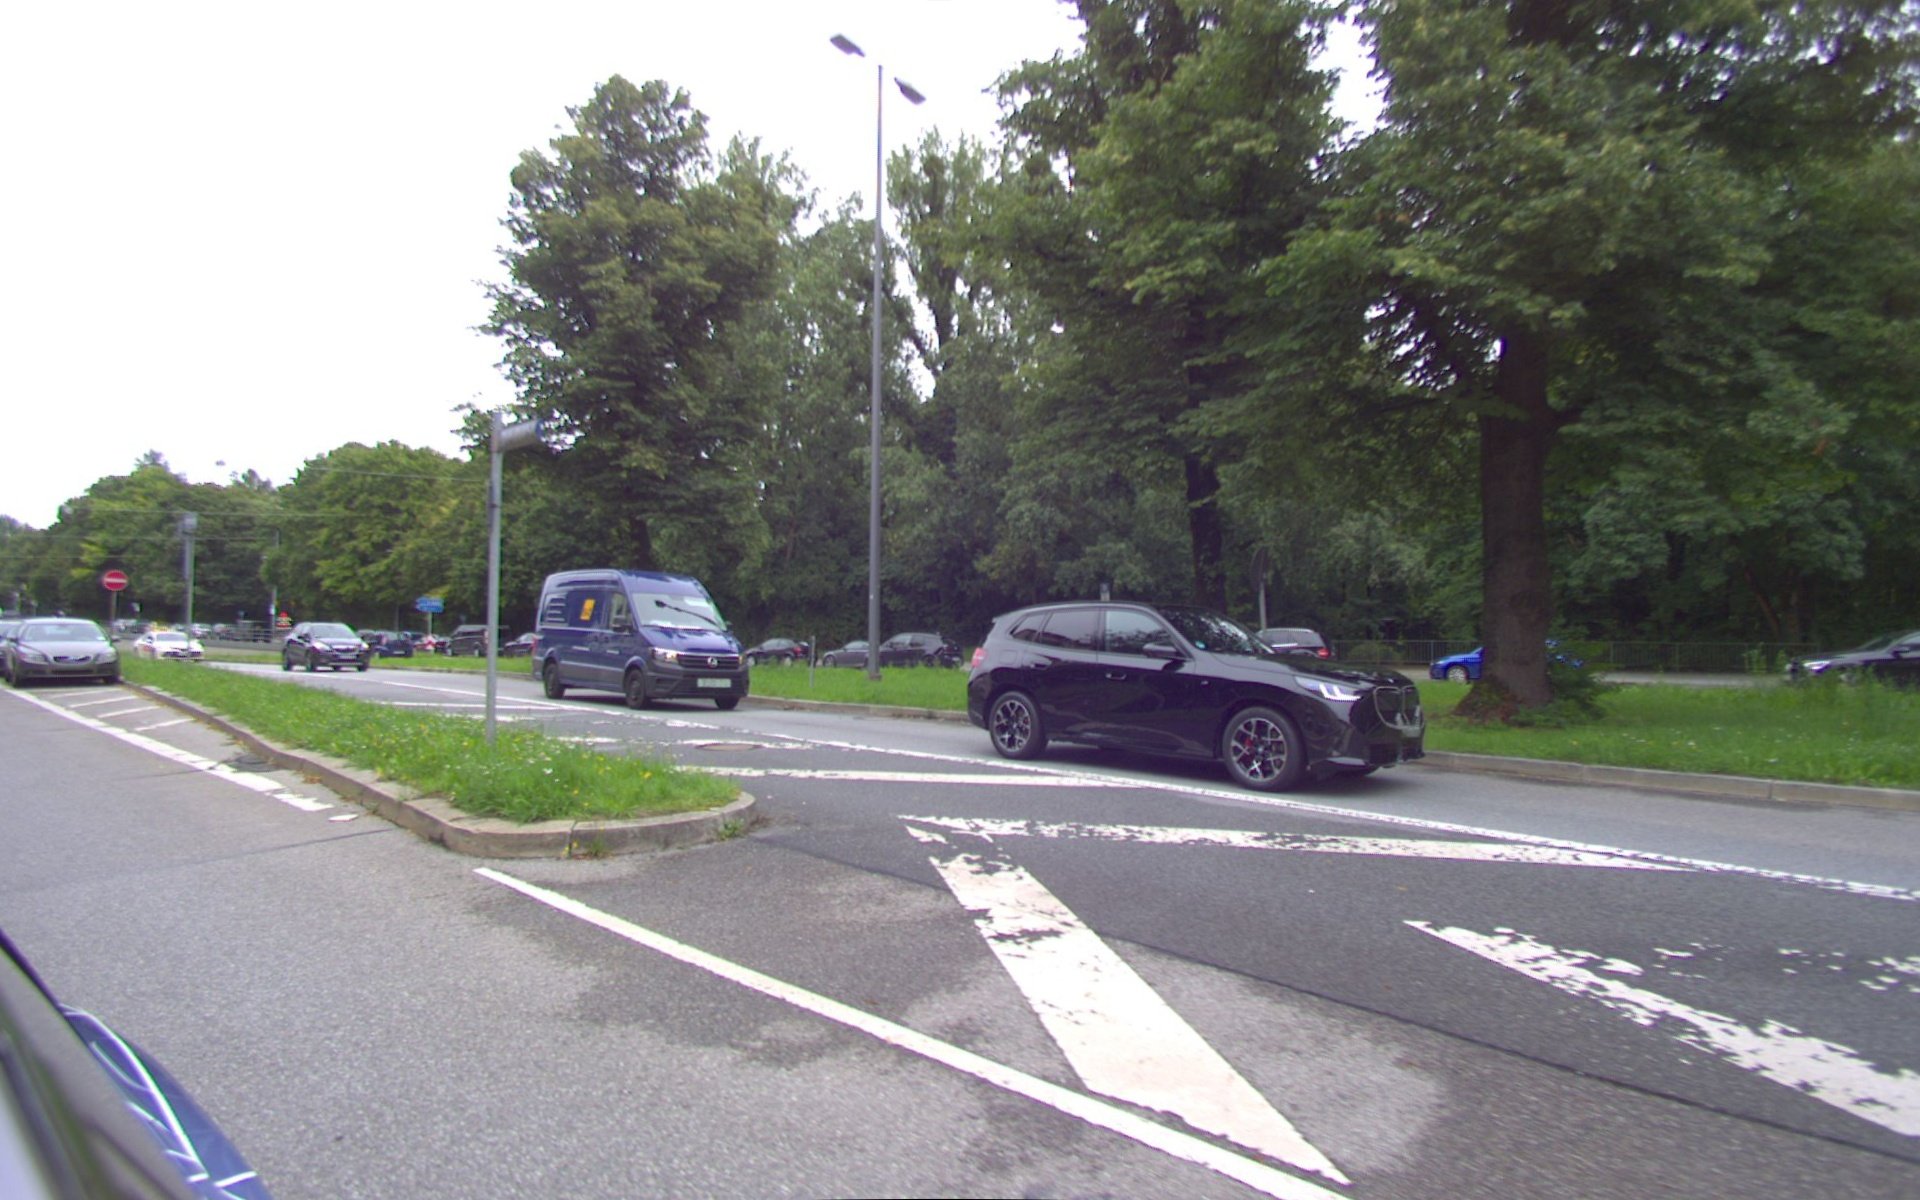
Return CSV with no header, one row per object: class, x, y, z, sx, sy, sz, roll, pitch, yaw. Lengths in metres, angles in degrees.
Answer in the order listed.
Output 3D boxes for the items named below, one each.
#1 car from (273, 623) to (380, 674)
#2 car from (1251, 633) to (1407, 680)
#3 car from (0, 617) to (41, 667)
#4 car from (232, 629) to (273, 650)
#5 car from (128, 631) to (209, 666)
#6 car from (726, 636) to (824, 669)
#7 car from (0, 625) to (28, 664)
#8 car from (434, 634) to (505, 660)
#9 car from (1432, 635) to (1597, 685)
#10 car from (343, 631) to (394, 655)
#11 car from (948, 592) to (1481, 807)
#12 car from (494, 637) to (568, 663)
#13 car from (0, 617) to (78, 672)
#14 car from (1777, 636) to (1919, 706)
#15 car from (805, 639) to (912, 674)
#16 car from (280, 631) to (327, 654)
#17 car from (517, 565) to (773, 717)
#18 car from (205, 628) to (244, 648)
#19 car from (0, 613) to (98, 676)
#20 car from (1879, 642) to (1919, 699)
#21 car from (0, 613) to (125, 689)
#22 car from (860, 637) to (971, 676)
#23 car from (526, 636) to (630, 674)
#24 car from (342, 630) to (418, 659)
car,-21.765,1.636,34.719,4.272,1.640,1.966,-1,-3,42
car,12.528,1.888,34.411,4.748,1.457,1.980,-1,-3,29
car,-32.482,1.386,34.009,4.282,1.577,1.965,-1,-3,43
car,-61.409,3.411,87.813,3.995,1.759,1.862,-1,-2,39
car,-37.397,2.262,47.785,4.648,1.577,1.968,-1,-3,38
car,-8.782,2.495,47.960,4.515,1.457,1.976,-1,-4,35
car,-35.782,1.620,37.104,4.277,1.380,1.745,-1,-3,39
car,-30.827,2.953,63.558,4.696,1.546,1.976,-1,-4,35
car,17.309,1.855,31.785,4.403,1.457,1.981,-1,-3,28
car,-43.361,3.128,74.136,3.994,1.569,1.888,0,-2,38
car,2.221,0.844,9.956,1.890,1.598,4.835,5,-5,-43
car,-25.493,2.935,60.132,4.515,1.457,1.976,-1,-4,35
car,-28.689,1.326,30.955,4.280,1.577,1.966,-1,-3,41
car,20.706,1.523,21.868,4.361,1.457,1.882,-1,-3,24
car,-4.537,2.480,44.910,4.515,1.457,1.976,-1,-4,35
car,-52.729,3.421,81.276,3.995,1.759,1.974,-1,-2,39
car,-6.193,0.706,19.388,5.855,2.482,2.159,0,-2,45
car,-66.814,3.398,91.919,3.995,1.759,1.843,-1,-2,39
car,-24.987,1.186,27.495,4.284,1.577,1.964,-1,-3,44
car,27.020,1.869,26.184,4.403,1.457,1.981,-1,-3,28
car,-20.887,1.125,23.429,4.772,1.577,1.877,-1,-3,45
car,-1.765,2.178,39.646,4.021,1.457,1.876,-1,-3,33
car,-15.856,2.277,41.965,4.221,1.457,1.814,-1,-3,32
car,-29.791,2.283,51.956,4.024,1.457,1.875,-1,-3,35
